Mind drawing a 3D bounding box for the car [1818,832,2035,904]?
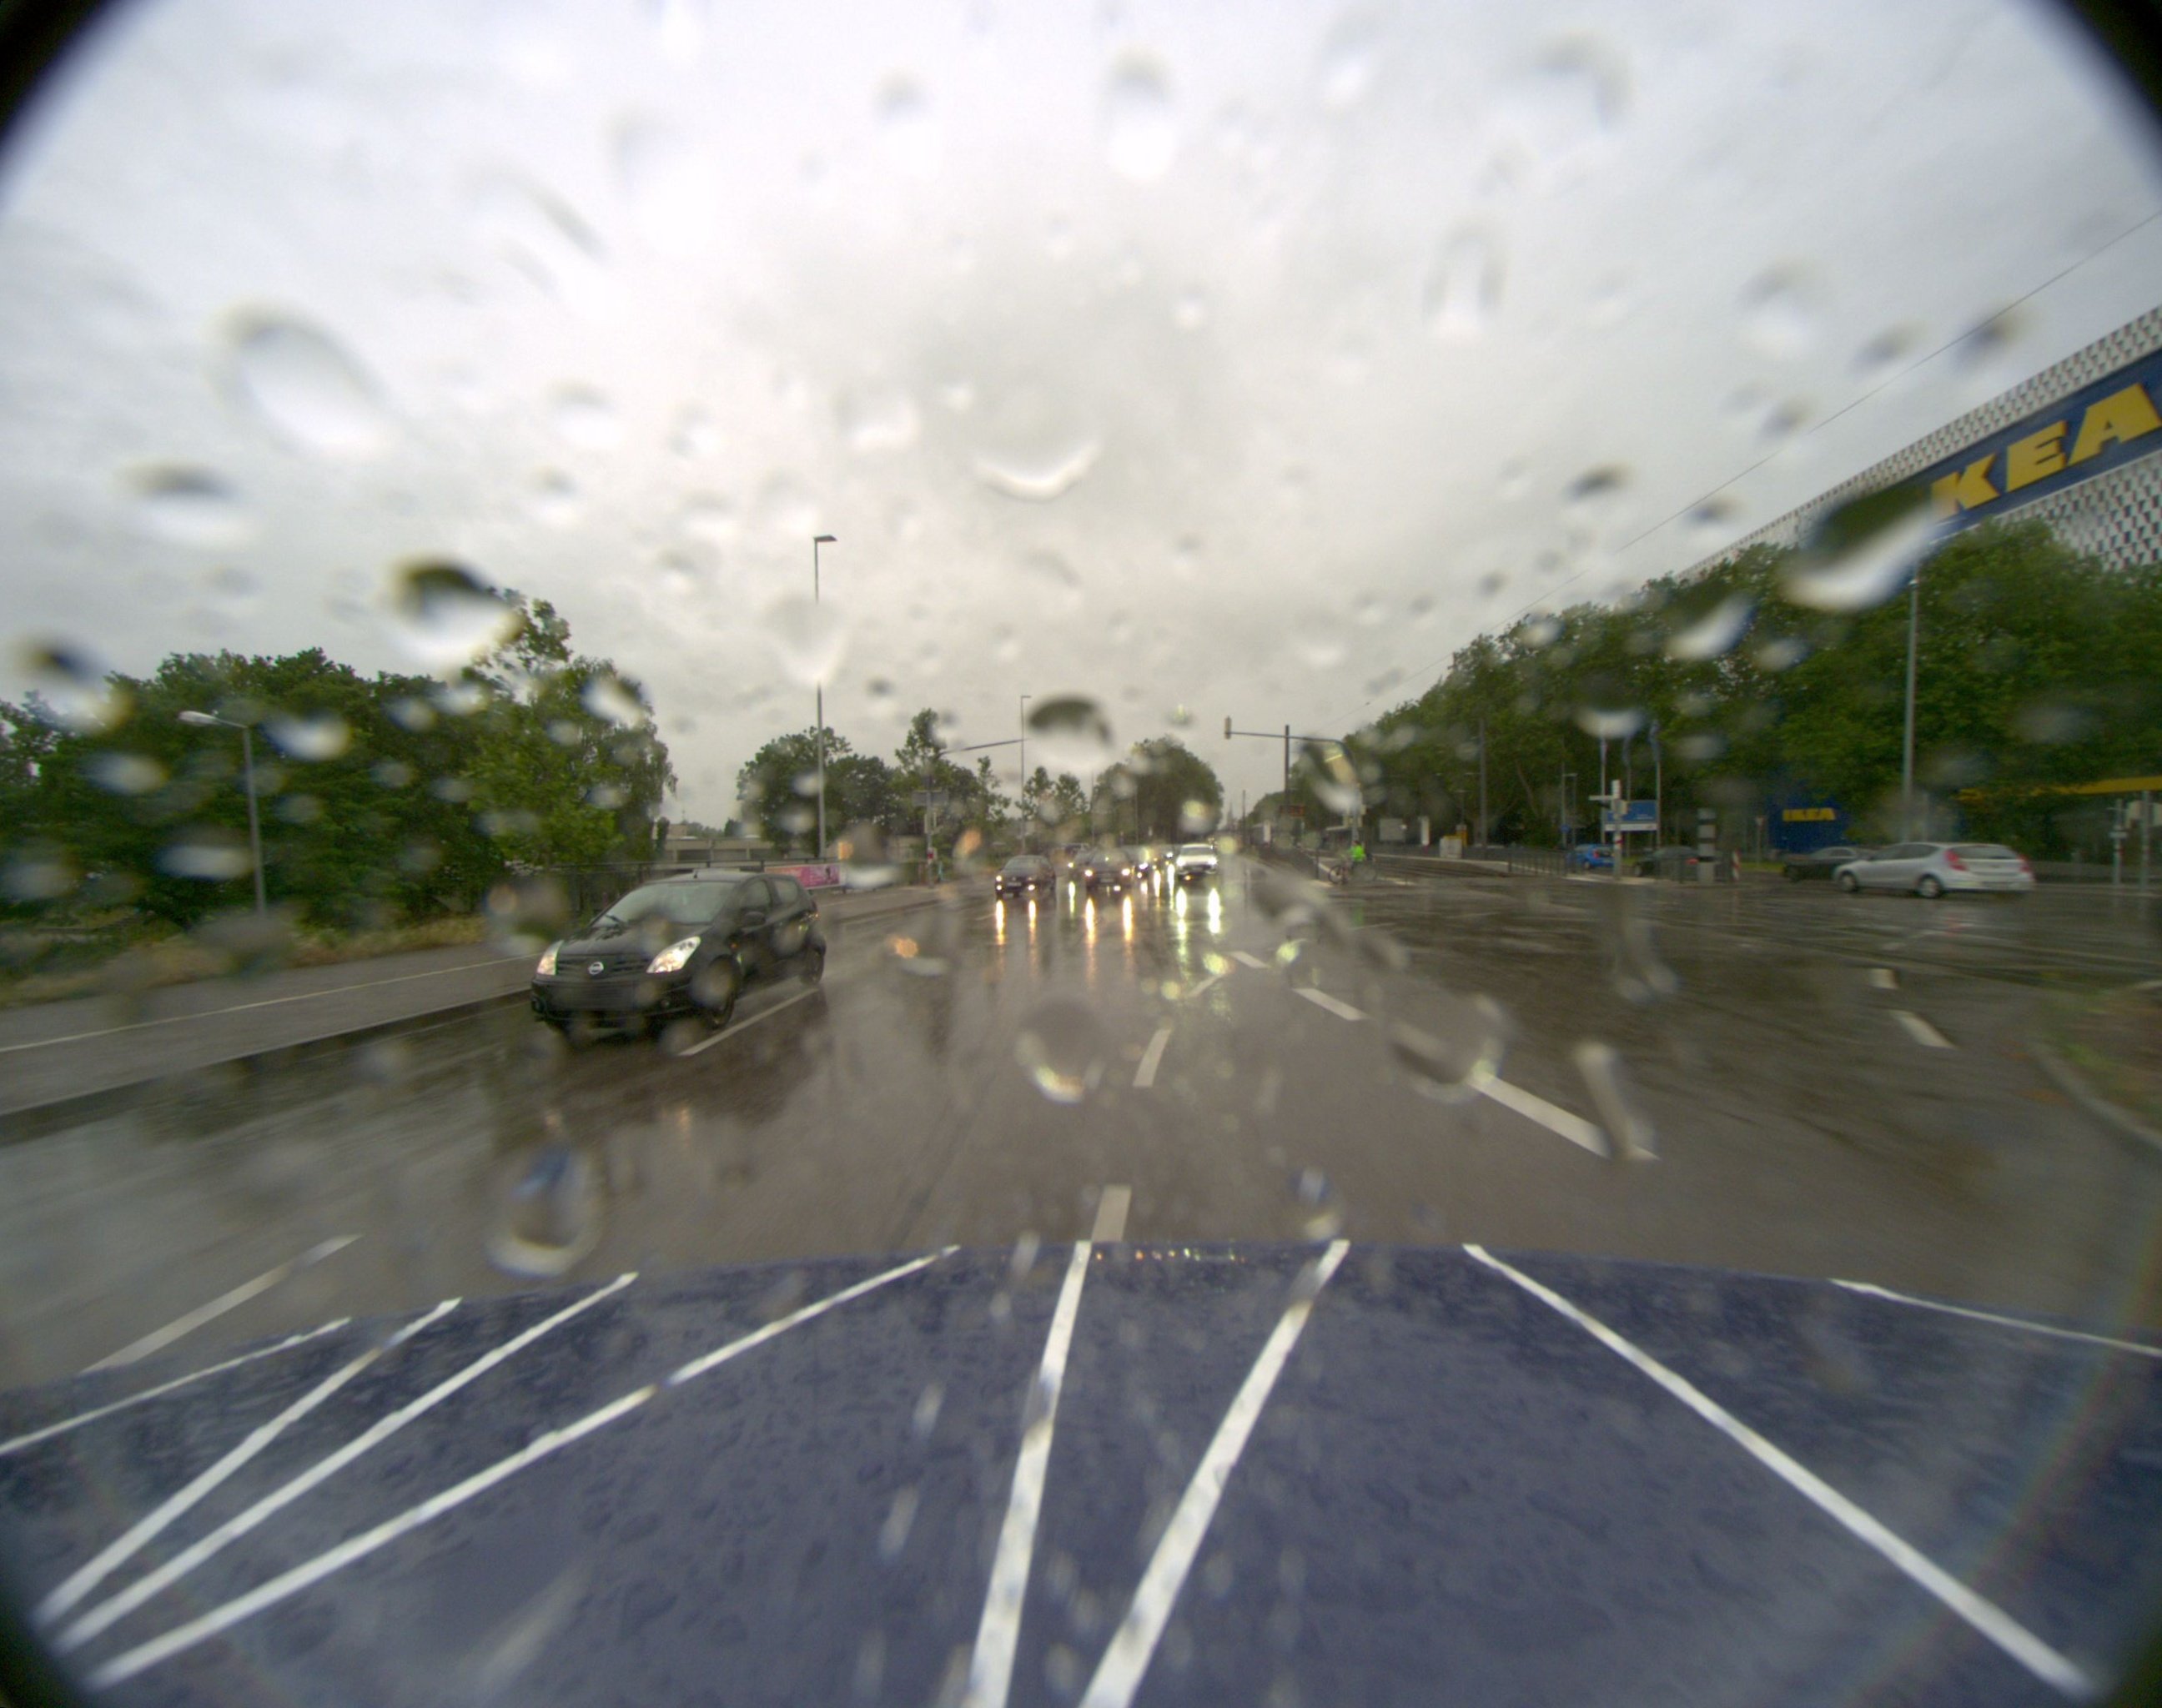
[{"bbox_3d":[22.735,0.329,20.727,1.715,1.698,4.433,-2,0,14],"label":"car"}]

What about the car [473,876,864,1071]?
[{"bbox_3d":[-4.029,1.059,8.352,1.775,1.453,4.093,-2,0,4],"label":"car"}]

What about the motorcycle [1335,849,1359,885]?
[{"bbox_3d":[9.557,0.468,27.271,0.527,1.214,1.404,-3,0,30],"label":"motorcycle"}]

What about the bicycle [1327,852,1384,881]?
[{"bbox_3d":[10.277,0.468,28.451,1.869,1.002,0.670,-3,0,8],"label":"bicycle"}]

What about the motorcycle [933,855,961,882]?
[{"bbox_3d":[-6.252,0.688,35.629,0.632,1.212,1.450,0,1,21],"label":"motorcycle"}]

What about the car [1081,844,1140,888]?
[{"bbox_3d":[1.267,0.461,30.543,1.875,1.573,4.045,-2,0,8],"label":"car"}]

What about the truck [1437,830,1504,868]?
[{"bbox_3d":[34.390,-0.537,67.538,2.745,2.834,9.095,-3,3,10],"label":"truck"}]

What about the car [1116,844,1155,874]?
[{"bbox_3d":[3.065,0.275,41.754,1.714,1.515,4.046,-2,0,9],"label":"car"}]

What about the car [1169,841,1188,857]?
[{"bbox_3d":[10.005,-0.509,77.871,1.714,1.515,4.046,-2,0,9],"label":"car"}]

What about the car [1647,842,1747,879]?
[{"bbox_3d":[25.252,0.232,31.328,1.584,1.358,4.205,-2,0,15],"label":"car"}]

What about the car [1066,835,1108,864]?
[{"bbox_3d":[0.406,-0.232,43.321,1.714,1.515,4.046,-2,0,9],"label":"car"}]

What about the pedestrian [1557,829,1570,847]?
[{"bbox_3d":[36.270,-1.200,57.091,0.579,1.327,0.686,-2,2,5],"label":"pedestrian"}]

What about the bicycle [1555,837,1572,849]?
[{"bbox_3d":[36.289,-0.831,57.119,0.573,0.852,1.176,-2,2,5],"label":"bicycle"}]

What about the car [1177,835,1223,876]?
[{"bbox_3d":[5.724,0.025,36.561,1.992,1.778,4.555,-2,1,9],"label":"car"}]

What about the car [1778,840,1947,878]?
[{"bbox_3d":[36.141,0.264,35.327,2.002,1.558,5.050,-3,0,-27],"label":"car"}]

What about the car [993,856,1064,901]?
[{"bbox_3d":[-1.860,0.869,28.263,1.714,1.476,4.046,-2,0,9],"label":"car"}]

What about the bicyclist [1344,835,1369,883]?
[{"bbox_3d":[10.281,0.176,28.379,0.618,1.721,0.793,-3,0,7],"label":"bicyclist"}]

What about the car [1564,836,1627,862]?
[{"bbox_3d":[29.894,-0.289,44.290,1.584,1.406,3.918,-2,0,11],"label":"car"}]

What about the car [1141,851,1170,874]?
[{"bbox_3d":[5.202,0.554,52.631,1.714,1.515,4.046,-2,0,9],"label":"car"}]

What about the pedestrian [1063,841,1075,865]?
[{"bbox_3d":[-0.857,-0.063,52.856,0.733,1.602,0.618,0,2,9],"label":"pedestrian"}]

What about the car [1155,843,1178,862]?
[{"bbox_3d":[7.373,-0.121,65.116,1.714,1.515,4.046,-2,0,9],"label":"car"}]
